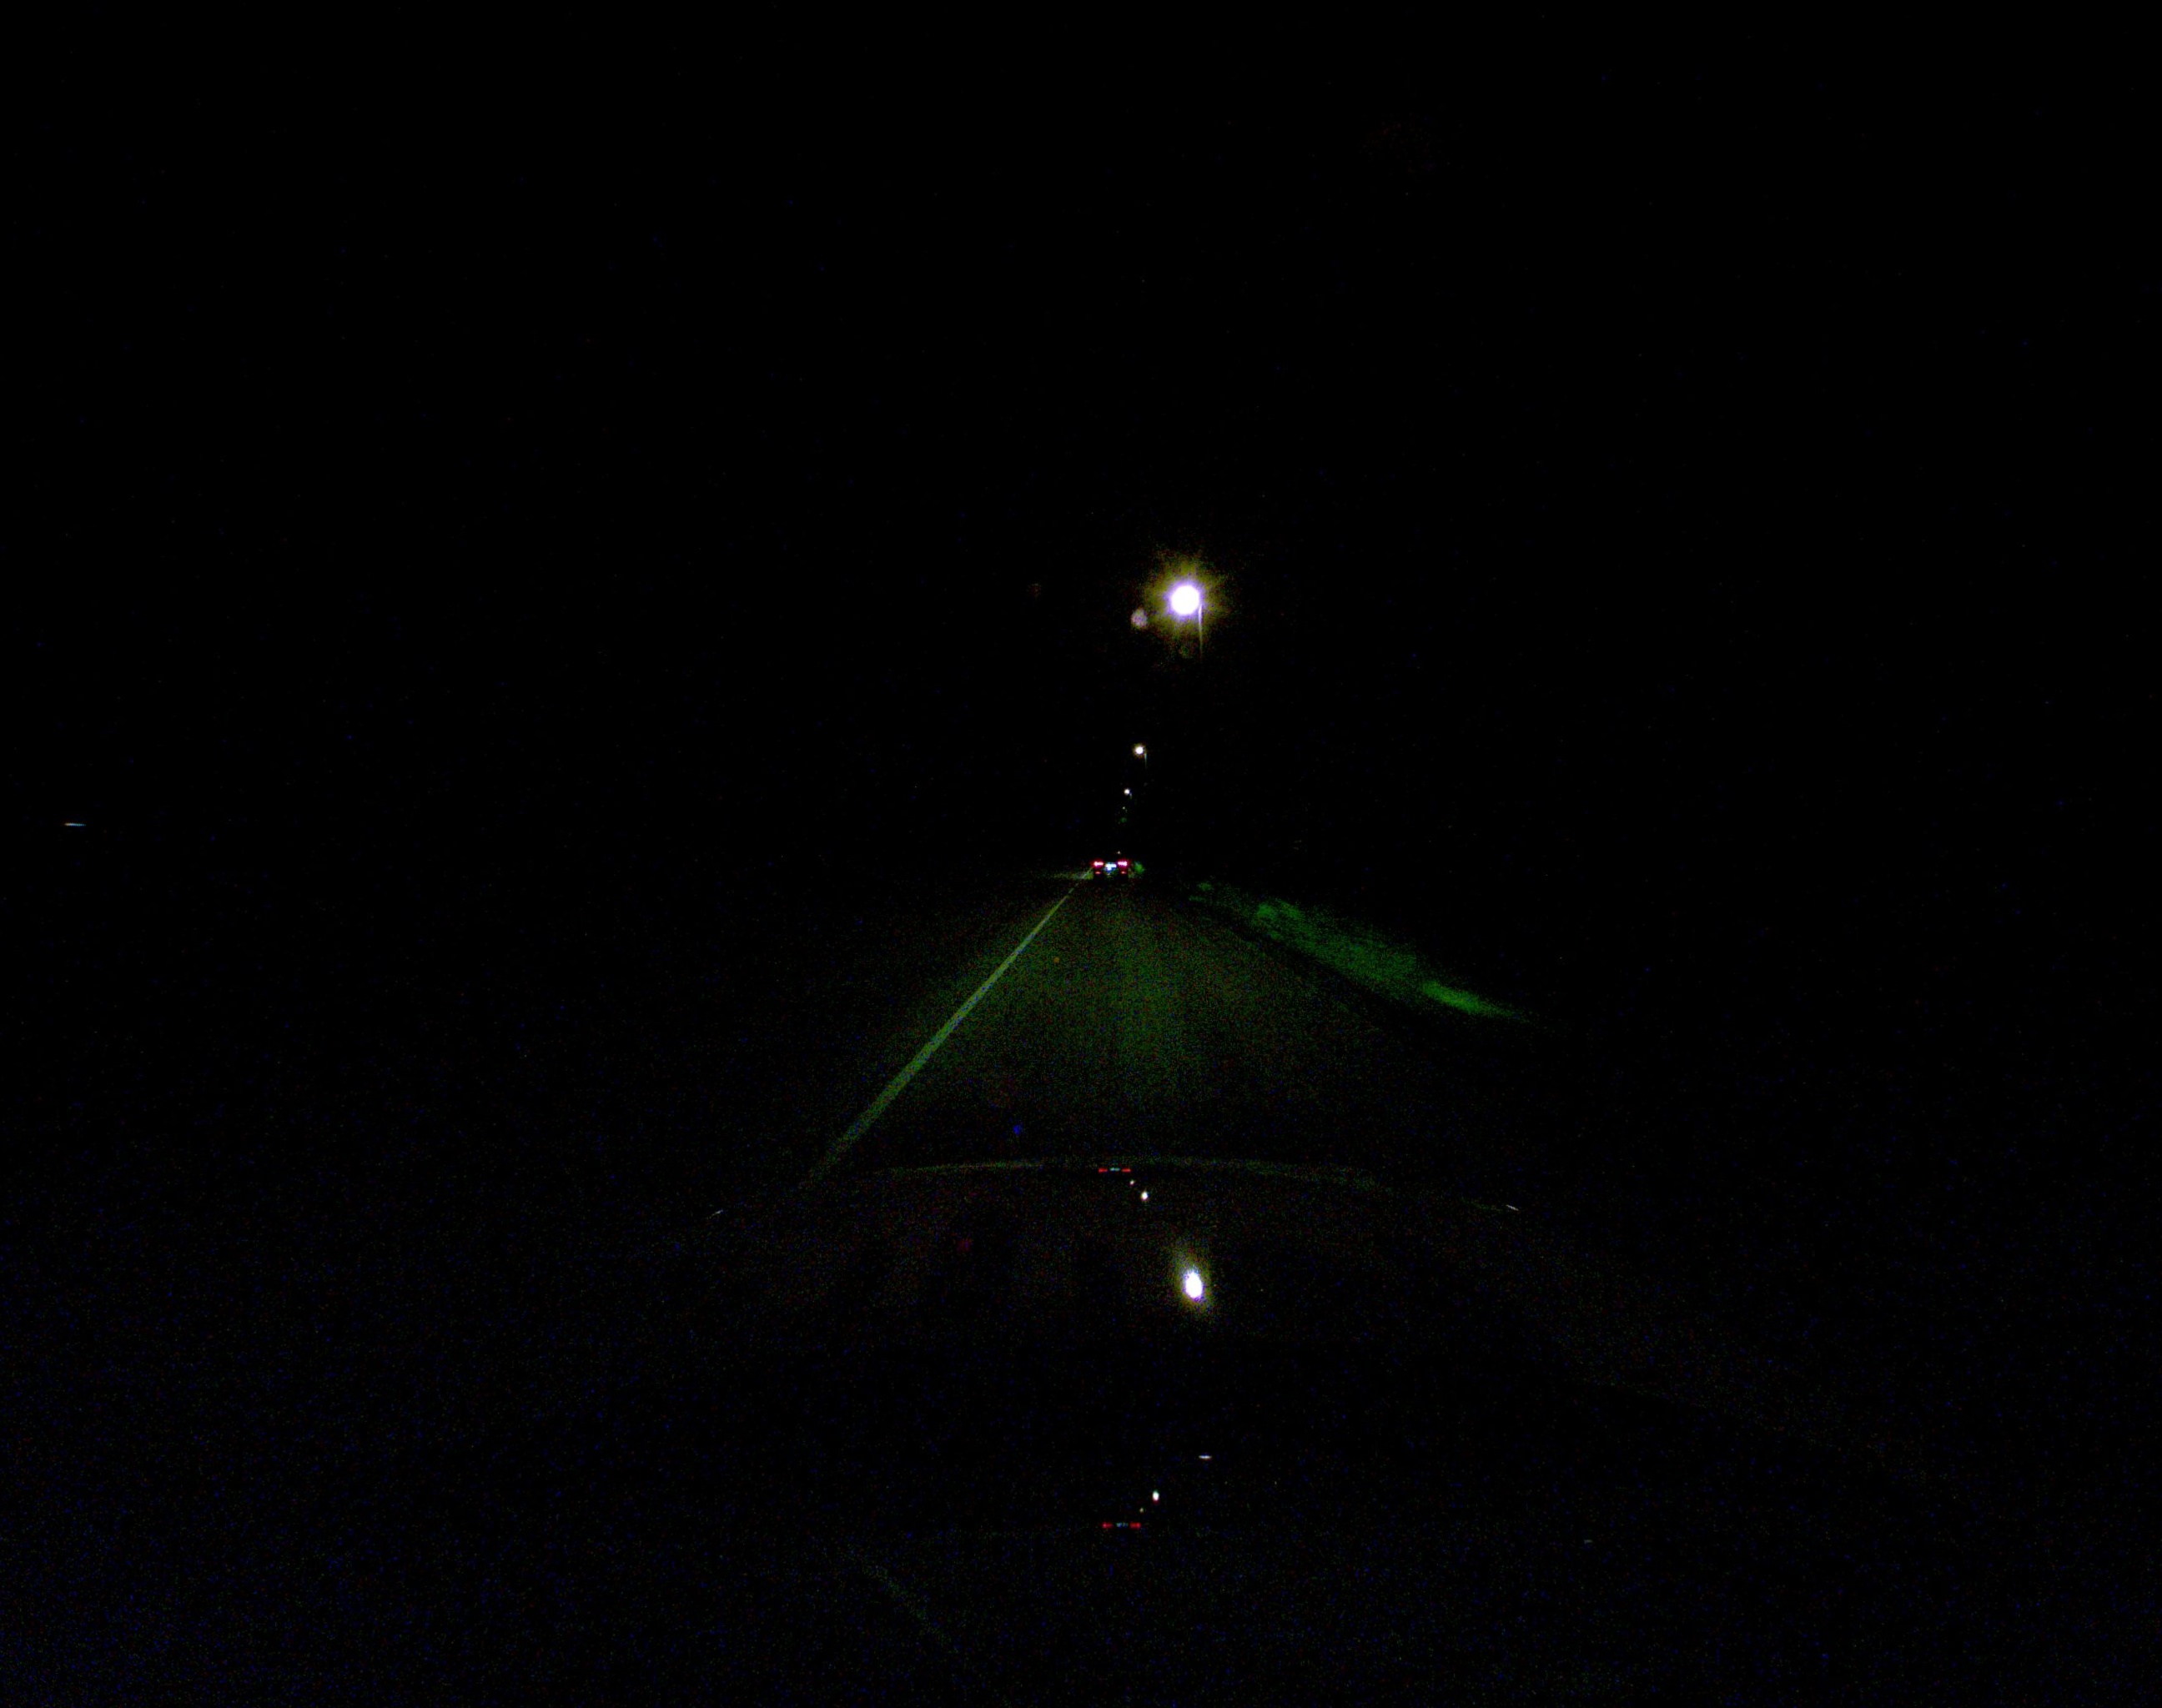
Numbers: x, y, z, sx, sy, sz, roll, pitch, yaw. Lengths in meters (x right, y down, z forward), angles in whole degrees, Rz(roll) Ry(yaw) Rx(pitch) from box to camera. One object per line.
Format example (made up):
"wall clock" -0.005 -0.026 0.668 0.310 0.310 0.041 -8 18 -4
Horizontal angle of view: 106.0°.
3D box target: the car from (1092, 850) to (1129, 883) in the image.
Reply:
"car" 1.554 0.625 42.758 1.808 1.573 3.945 -2 0 2
